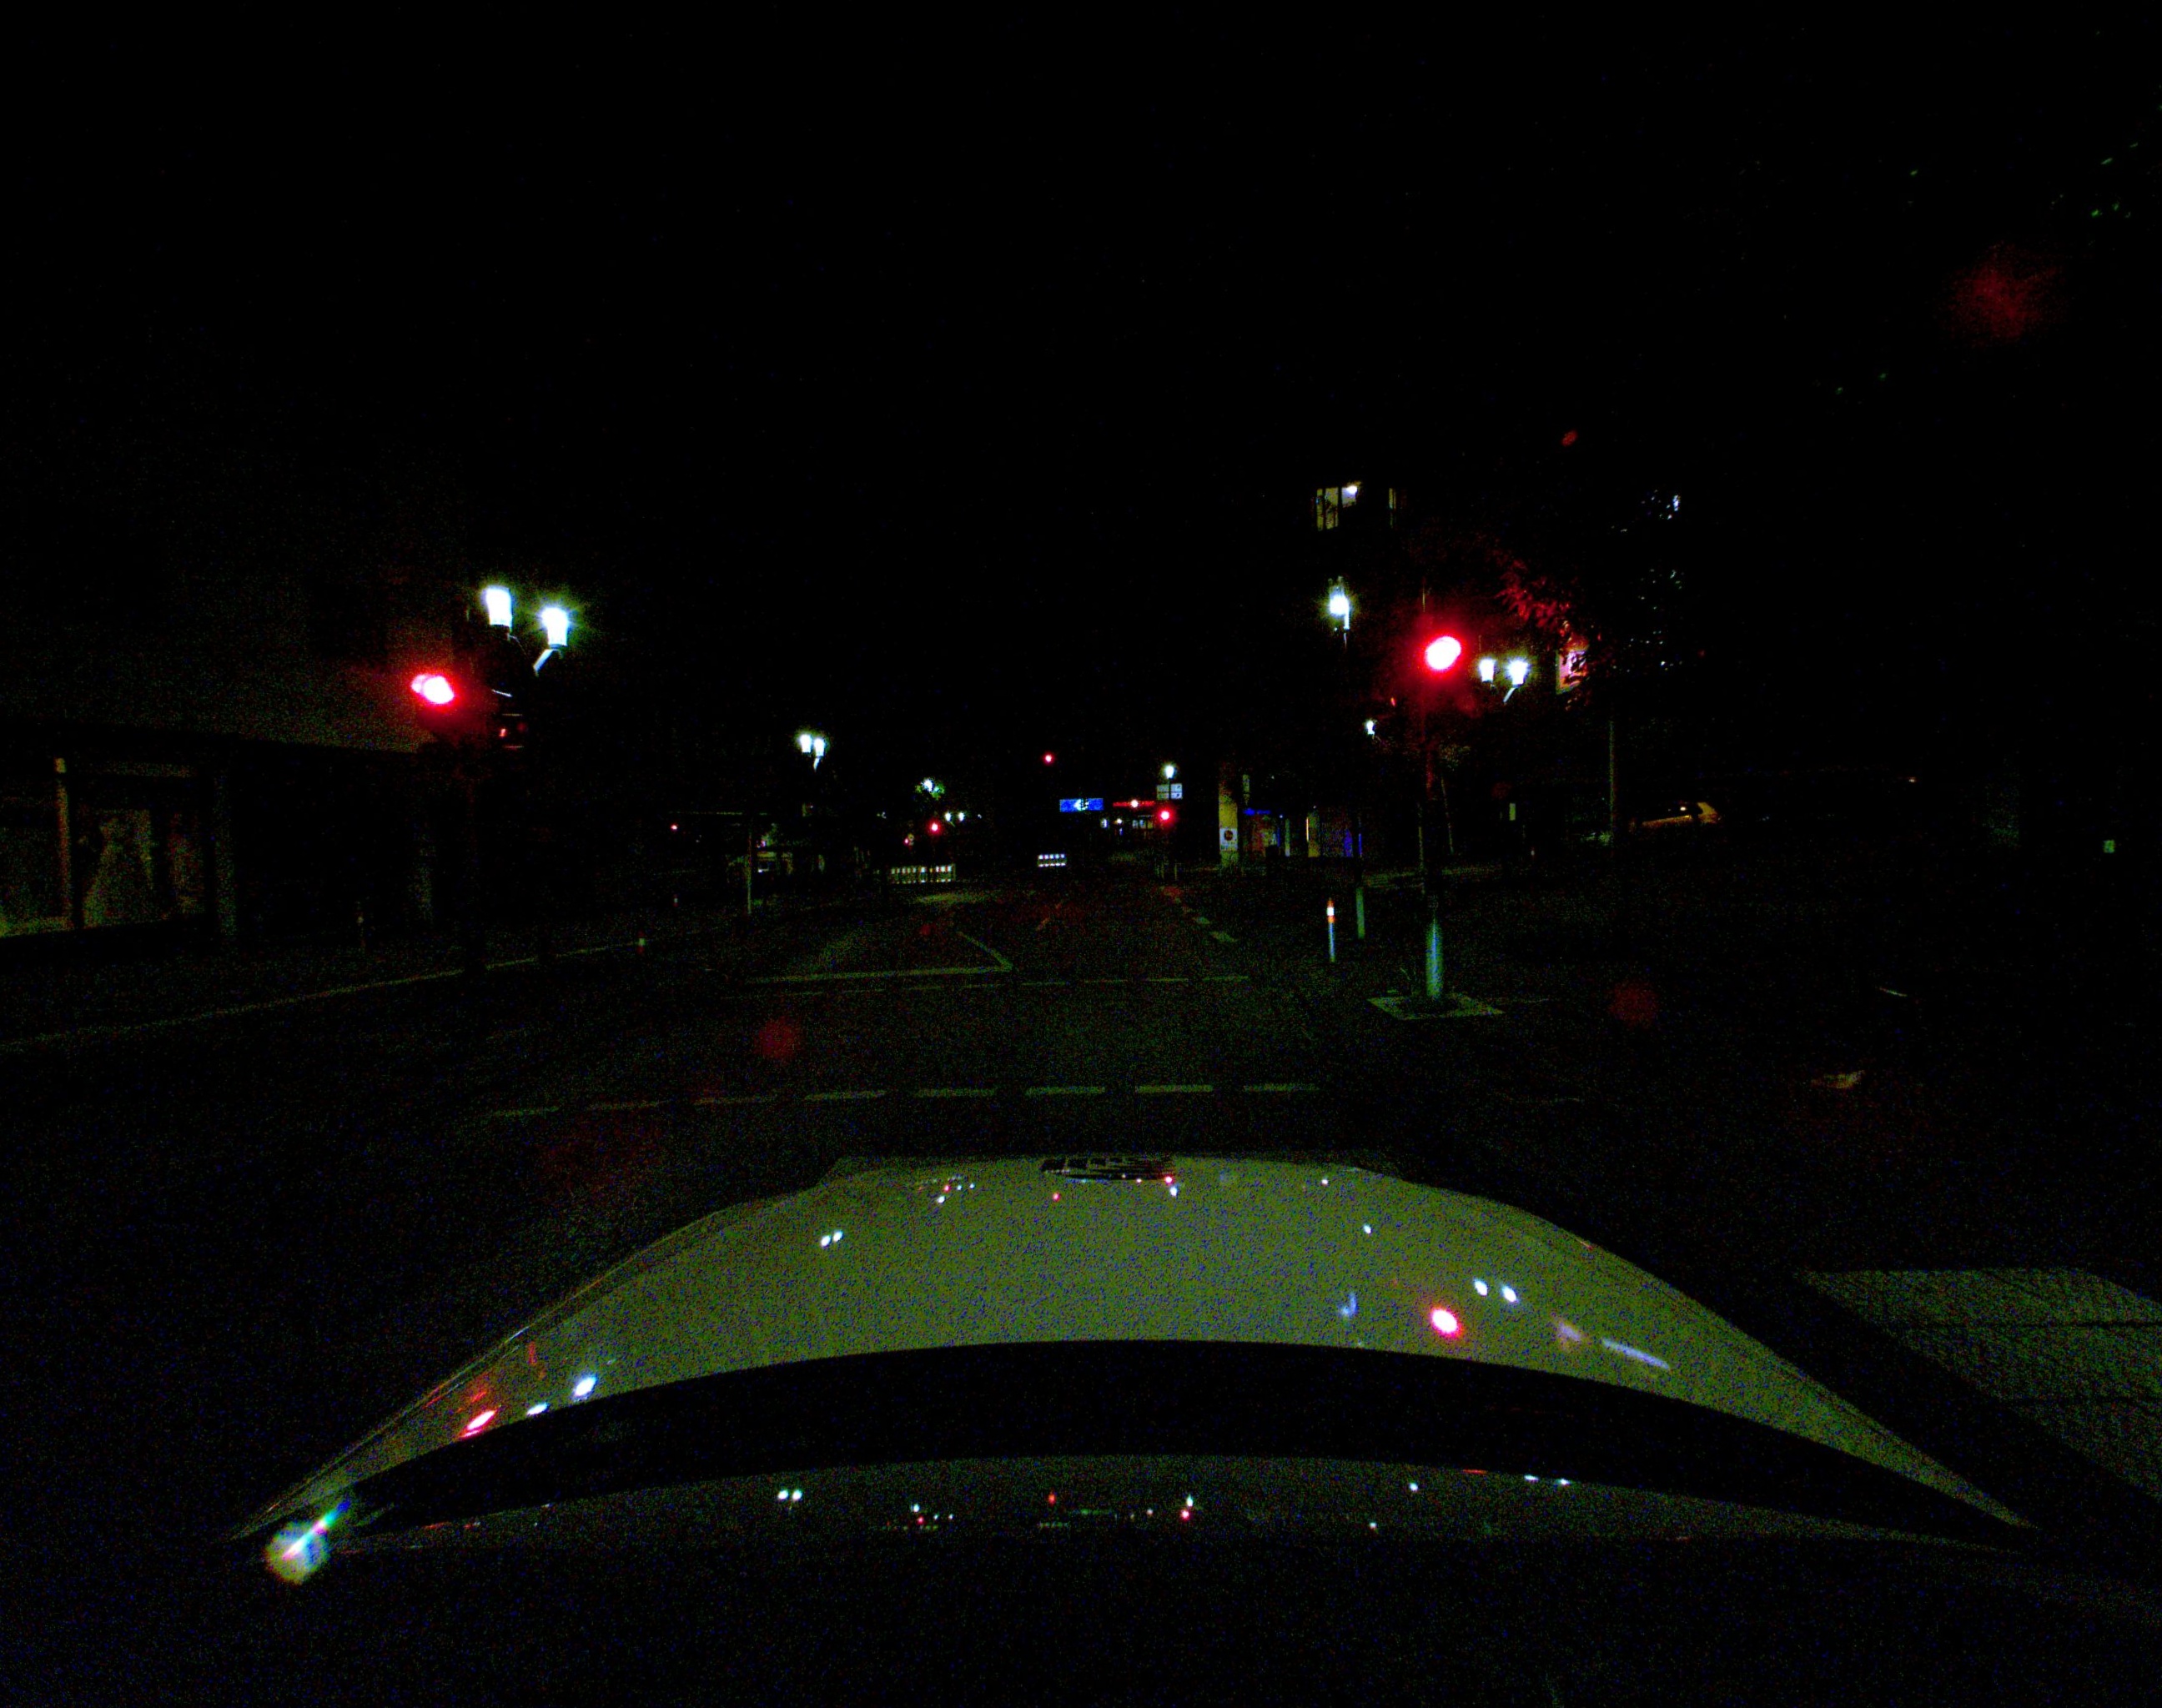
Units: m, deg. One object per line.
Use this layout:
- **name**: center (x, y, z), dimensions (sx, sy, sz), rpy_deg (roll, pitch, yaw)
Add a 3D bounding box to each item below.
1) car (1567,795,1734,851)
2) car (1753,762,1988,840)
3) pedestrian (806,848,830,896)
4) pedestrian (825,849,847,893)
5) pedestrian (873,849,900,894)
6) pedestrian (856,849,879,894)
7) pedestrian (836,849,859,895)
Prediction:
- **car**: center (18.457, -0.973, 26.572), dimensions (4.019, 1.452, 1.830), rpy_deg (-4, 0, 8)
- **car**: center (23.403, -1.473, 24.489), dimensions (4.783, 1.910, 2.172), rpy_deg (-2, -2, 37)
- **pedestrian**: center (-9.934, 0.669, 30.780), dimensions (0.713, 1.795, 0.570), rpy_deg (-1, -2, 2)
- **pedestrian**: center (-10.080, 0.696, 33.511), dimensions (0.712, 1.795, 0.571), rpy_deg (-1, -2, 8)
- **pedestrian**: center (-7.786, 0.712, 32.633), dimensions (0.709, 1.795, 0.741), rpy_deg (-2, -2, 29)
- **pedestrian**: center (-8.570, 0.714, 32.657), dimensions (0.712, 1.795, 0.571), rpy_deg (-1, -2, 8)
- **pedestrian**: center (-9.215, 0.711, 32.170), dimensions (0.712, 1.795, 0.571), rpy_deg (-1, -2, 8)
